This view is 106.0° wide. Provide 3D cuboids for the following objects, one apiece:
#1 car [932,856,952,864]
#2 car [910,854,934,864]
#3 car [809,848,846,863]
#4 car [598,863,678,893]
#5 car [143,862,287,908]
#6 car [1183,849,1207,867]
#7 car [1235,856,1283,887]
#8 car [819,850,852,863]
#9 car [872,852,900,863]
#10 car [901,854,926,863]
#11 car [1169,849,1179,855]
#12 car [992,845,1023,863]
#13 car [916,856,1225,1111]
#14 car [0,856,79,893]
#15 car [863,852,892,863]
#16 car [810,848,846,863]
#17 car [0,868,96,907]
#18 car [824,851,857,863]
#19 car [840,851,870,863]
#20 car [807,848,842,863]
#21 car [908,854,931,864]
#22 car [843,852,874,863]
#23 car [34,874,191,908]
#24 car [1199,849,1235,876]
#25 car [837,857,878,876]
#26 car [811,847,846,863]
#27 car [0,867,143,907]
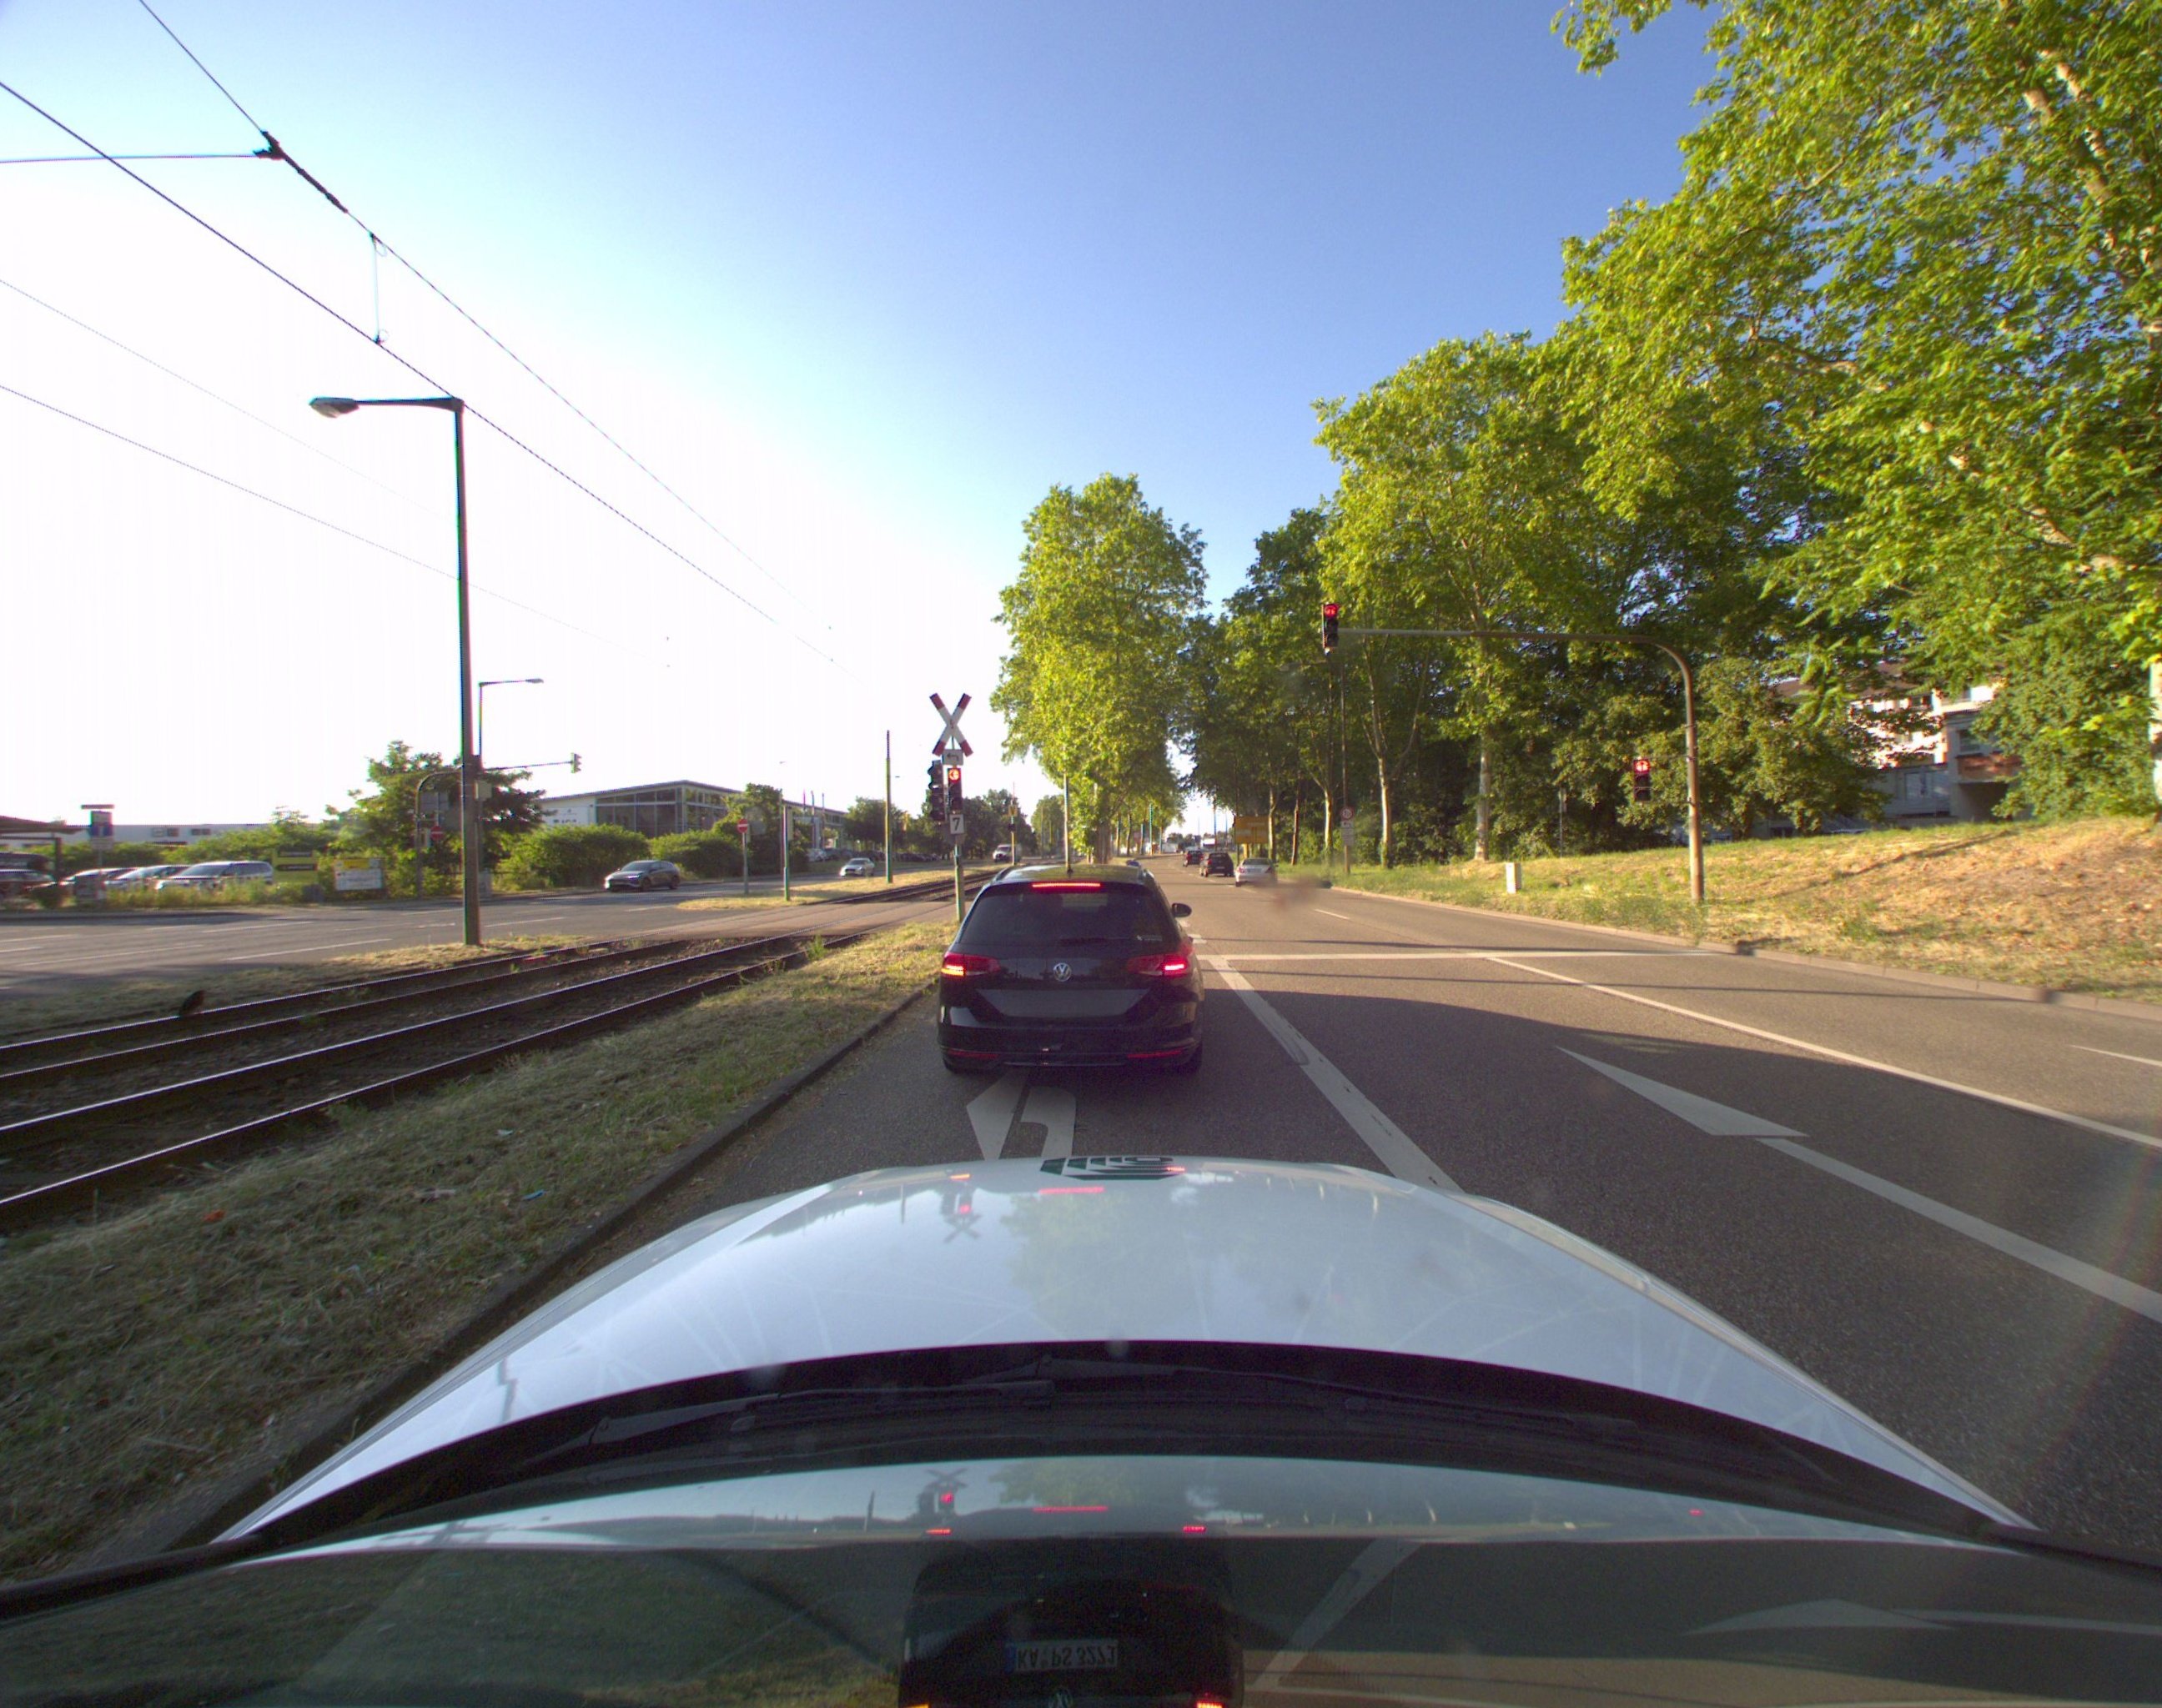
[{"bbox_3d":[-28.815,1.195,168.916,3.977,1.556,1.742,-1,0,-2],"label":"car"},{"bbox_3d":[-29.260,0.922,150.004,3.978,1.621,1.742,-1,0,-3],"label":"car"},{"bbox_3d":[-29.263,0.155,94.110,3.999,1.704,1.732,-1,0,-19],"label":"car"},{"bbox_3d":[-23.753,1.265,43.860,1.854,1.481,4.176,0,0,3],"label":"car"},{"bbox_3d":[-38.523,1.330,36.406,1.855,1.821,4.174,0,0,2],"label":"car"},{"bbox_3d":[10.749,0.401,76.784,1.864,1.635,4.373,-1,0,3],"label":"car"},{"bbox_3d":[8.027,0.729,36.502,1.595,1.294,4.002,0,0,20],"label":"car"},{"bbox_3d":[-31.153,0.310,103.414,3.999,1.556,1.732,-1,0,-19],"label":"car"},{"bbox_3d":[-30.122,0.599,125.944,3.978,1.621,1.742,-1,0,-3],"label":"car"},{"bbox_3d":[-28.768,0.778,139.667,3.978,1.621,1.742,-1,0,-3],"label":"car"},{"bbox_3d":[24.917,-0.500,217.660,1.989,1.420,3.995,-1,0,-3],"label":"car"},{"bbox_3d":[-10.140,-0.026,113.212,2.078,2.461,5.881,0,0,19],"label":"car"},{"bbox_3d":[-0.017,0.755,6.520,1.788,1.464,3.584,0,0,1],"label":"car"},{"bbox_3d":[-60.421,1.164,45.899,1.855,2.014,4.773,0,0,2],"label":"car"},{"bbox_3d":[-30.610,0.556,122.742,3.978,1.621,1.742,-1,0,-3],"label":"car"},{"bbox_3d":[-29.953,0.173,96.379,3.999,1.704,1.732,-1,0,-19],"label":"car"},{"bbox_3d":[-47.160,1.461,36.040,1.970,1.583,4.174,0,0,2],"label":"car"},{"bbox_3d":[-31.368,0.354,106.205,3.999,1.556,1.732,-1,0,-19],"label":"car"},{"bbox_3d":[-31.231,0.447,112.603,3.999,1.556,1.732,-1,0,-19],"label":"car"},{"bbox_3d":[-31.647,0.140,100.514,3.999,1.816,1.732,-1,0,-19],"label":"car"},{"bbox_3d":[-29.108,0.877,146.836,3.978,1.621,1.742,-1,0,-3],"label":"car"},{"bbox_3d":[-31.440,0.485,115.309,3.983,1.556,1.739,-1,0,-7],"label":"car"},{"bbox_3d":[-42.471,1.571,35.884,1.855,1.267,4.174,0,0,2],"label":"car"},{"bbox_3d":[8.451,0.523,50.835,1.700,1.561,4.169,-1,0,3],"label":"car"},{"bbox_3d":[-18.469,1.043,67.402,1.852,1.481,4.099,0,0,7],"label":"car"},{"bbox_3d":[-30.605,0.138,98.734,3.999,1.816,1.732,-1,0,-19],"label":"car"},{"bbox_3d":[-44.710,1.412,35.888,1.855,1.583,4.174,0,0,2],"label":"car"}]
